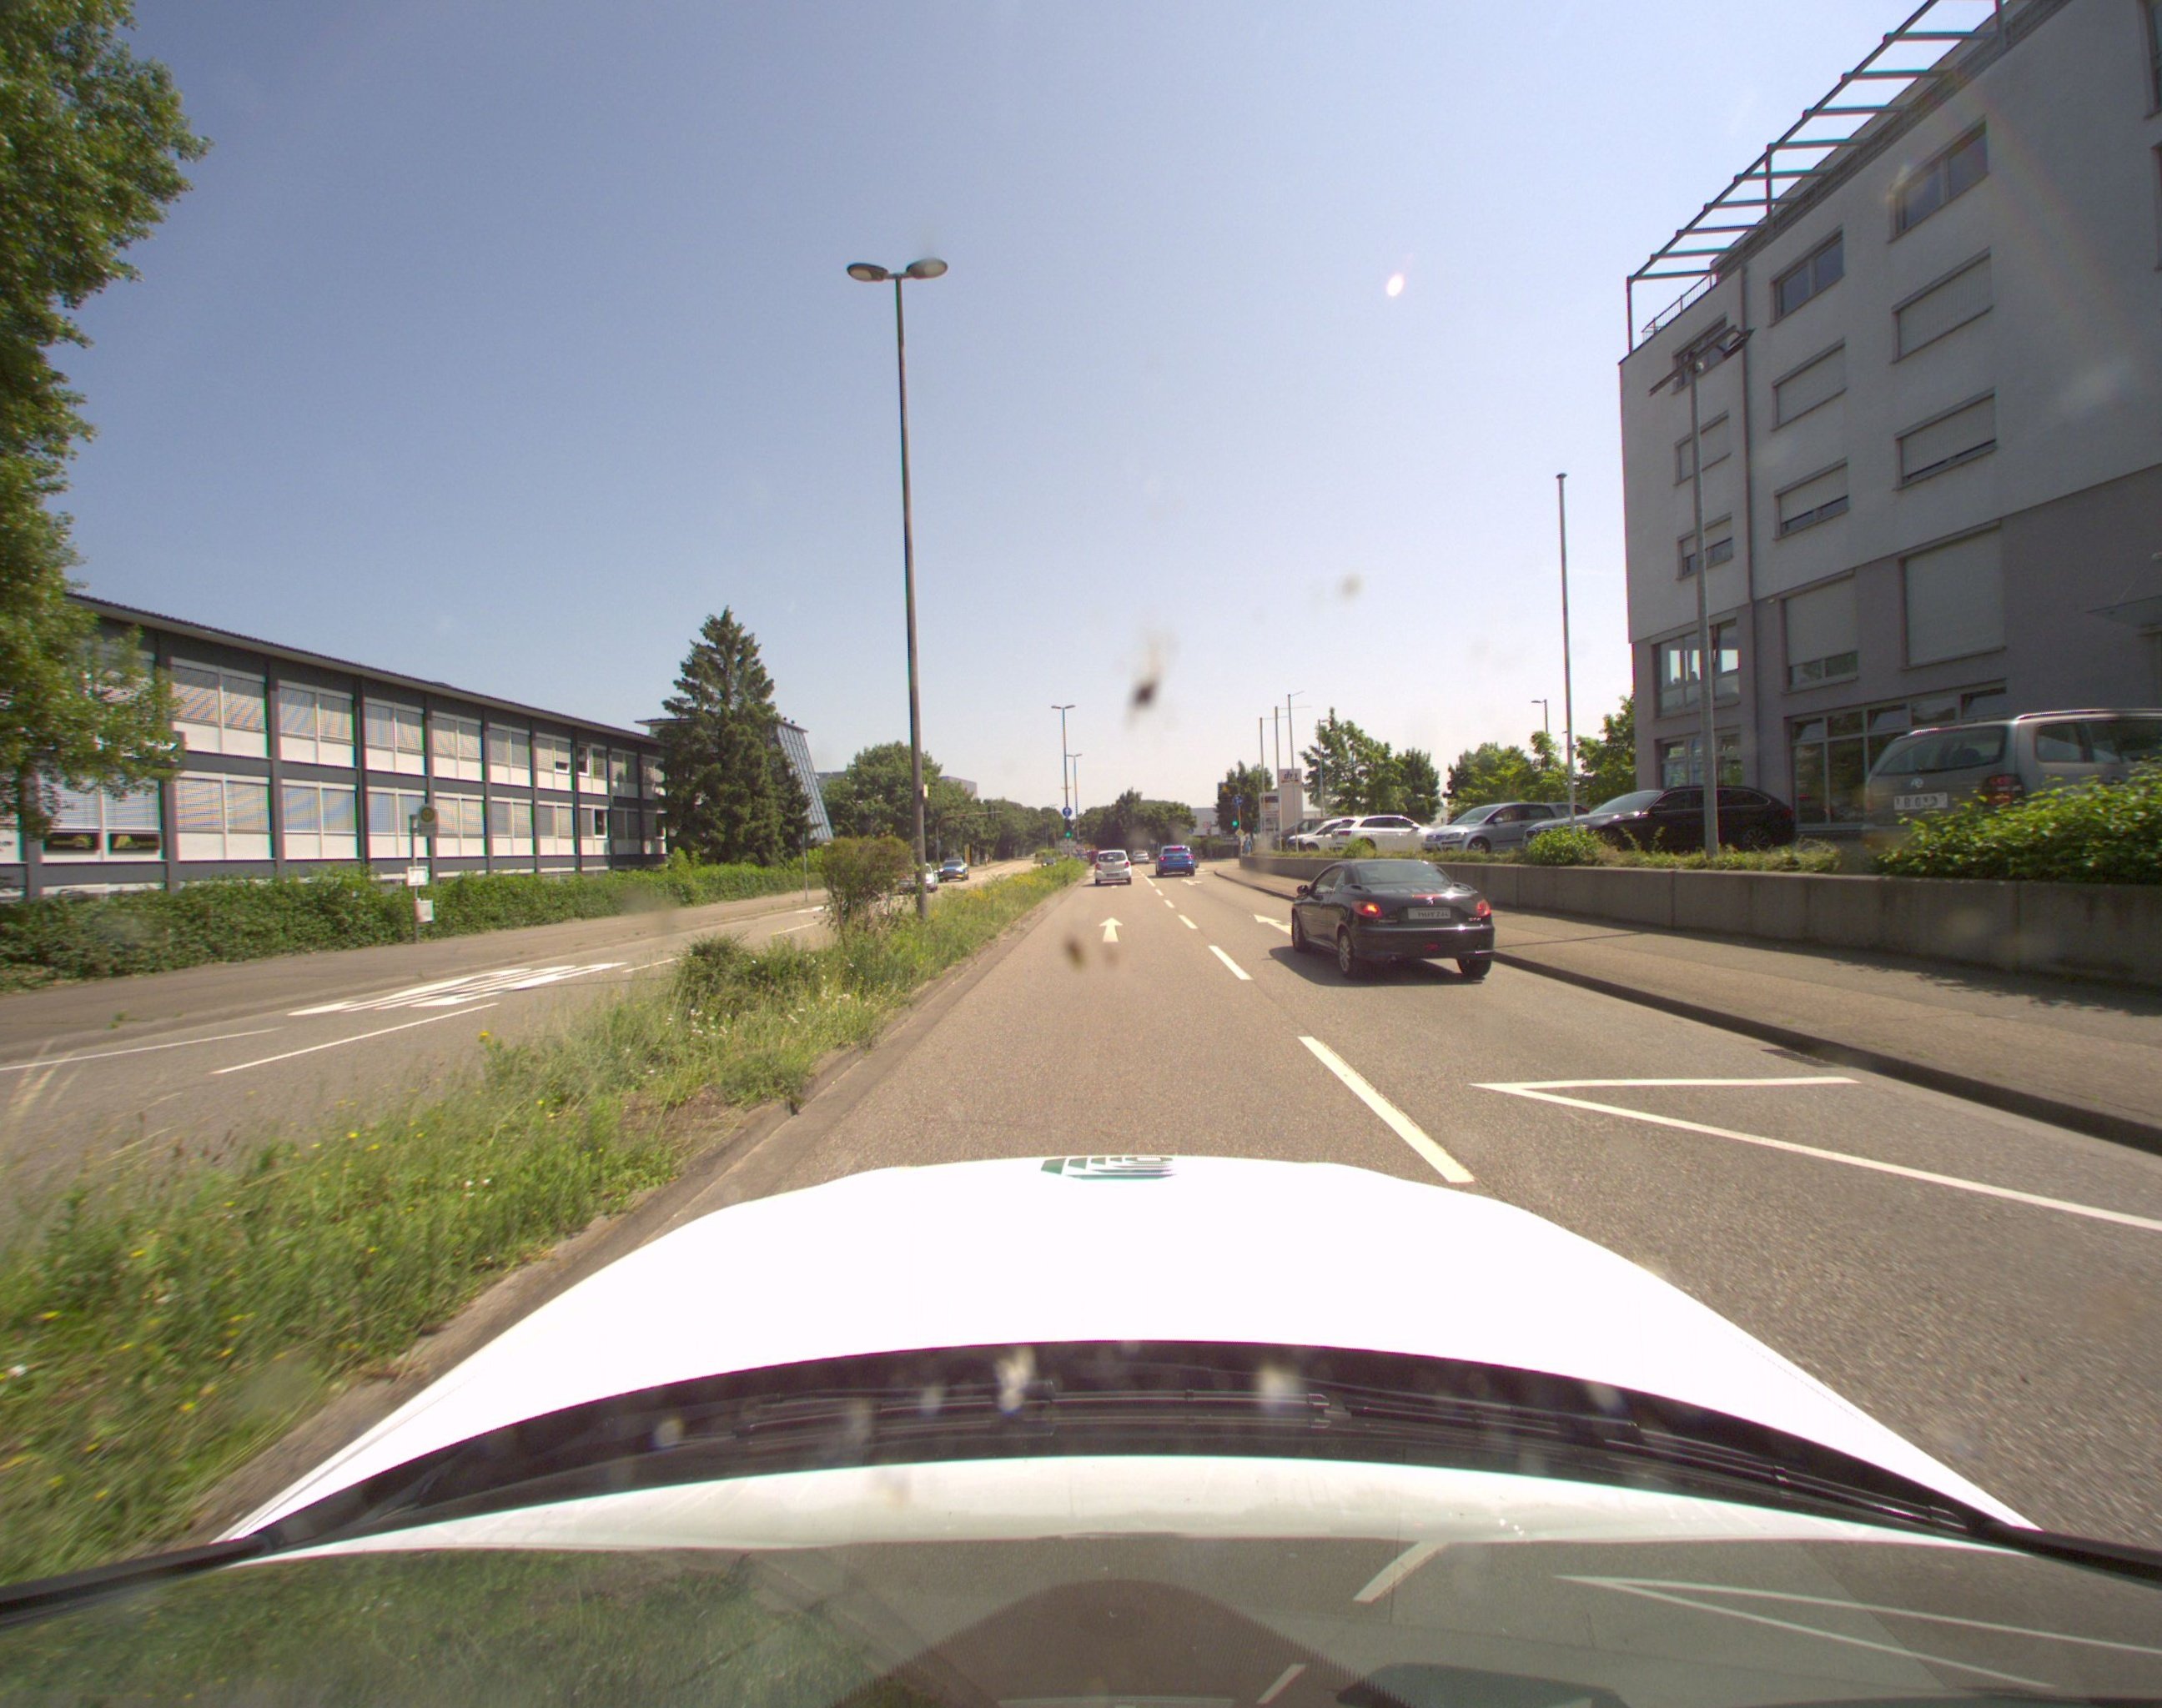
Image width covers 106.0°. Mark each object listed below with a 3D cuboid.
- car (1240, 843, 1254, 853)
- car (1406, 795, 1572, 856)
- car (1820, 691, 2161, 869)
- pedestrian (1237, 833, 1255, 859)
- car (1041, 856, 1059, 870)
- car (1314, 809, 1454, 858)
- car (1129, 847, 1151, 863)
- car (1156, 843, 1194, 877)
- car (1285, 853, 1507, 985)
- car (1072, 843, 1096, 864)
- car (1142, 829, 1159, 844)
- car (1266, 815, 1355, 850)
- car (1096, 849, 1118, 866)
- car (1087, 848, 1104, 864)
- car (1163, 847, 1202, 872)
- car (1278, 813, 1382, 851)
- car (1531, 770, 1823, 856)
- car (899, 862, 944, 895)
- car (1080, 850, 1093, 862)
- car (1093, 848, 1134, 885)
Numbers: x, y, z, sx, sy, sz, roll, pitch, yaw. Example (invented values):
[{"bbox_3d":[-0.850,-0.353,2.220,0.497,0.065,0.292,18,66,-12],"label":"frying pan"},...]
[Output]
[{"bbox_3d":[24.019,-0.877,117.920,1.498,1.262,3.168,-3,0,3],"label":"car"},{"bbox_3d":[11.216,-0.773,22.458,3.931,1.452,1.755,-3,0,-17],"label":"car"},{"bbox_3d":[11.105,-0.795,8.895,4.213,1.647,2.000,-3,0,0],"label":"car"},{"bbox_3d":[10.188,-0.499,50.209,0.767,1.608,1.092,-3,0,29],"label":"pedestrian"},{"bbox_3d":[-3.109,0.875,81.316,1.571,1.269,3.725,-3,0,-4],"label":"car"},{"bbox_3d":[11.350,-0.740,30.731,4.519,1.544,2.000,-3,0,0],"label":"car"},{"bbox_3d":[6.056,0.087,83.595,1.986,1.420,4.001,-3,0,1],"label":"car"},{"bbox_3d":[4.850,0.274,42.386,1.819,1.580,3.610,-2,1,5],"label":"car"},{"bbox_3d":[3.890,0.707,10.681,1.621,1.364,3.607,-1,1,2],"label":"car"},{"bbox_3d":[0.252,-0.044,71.420,1.815,1.661,3.996,-2,1,-3],"label":"car"},{"bbox_3d":[9.456,-2.362,110.518,1.765,2.013,3.988,-3,1,-2],"label":"car"},{"bbox_3d":[11.793,-1.065,42.001,3.975,1.544,1.999,-3,0,-1],"label":"car"},{"bbox_3d":[2.505,0.330,78.897,1.987,1.442,4.000,-3,0,1],"label":"car"},{"bbox_3d":[1.666,0.242,94.427,1.771,1.740,3.997,-2,0,-2],"label":"car"},{"bbox_3d":[6.185,0.303,49.331,1.446,1.376,3.510,-3,0,21],"label":"car"},{"bbox_3d":[11.940,-1.014,39.181,4.334,1.544,1.999,-3,0,-1],"label":"car"},{"bbox_3d":[11.619,-0.760,16.124,4.307,1.368,1.999,-3,0,-1],"label":"car"},{"bbox_3d":[-7.811,1.156,40.167,1.734,1.413,4.363,-2,0,-6],"label":"car"},{"bbox_3d":[0.860,0.245,118.280,1.791,1.690,4.001,-3,0,1],"label":"car"},{"bbox_3d":[1.495,0.536,36.934,1.741,1.520,3.748,-1,1,3],"label":"car"}]
